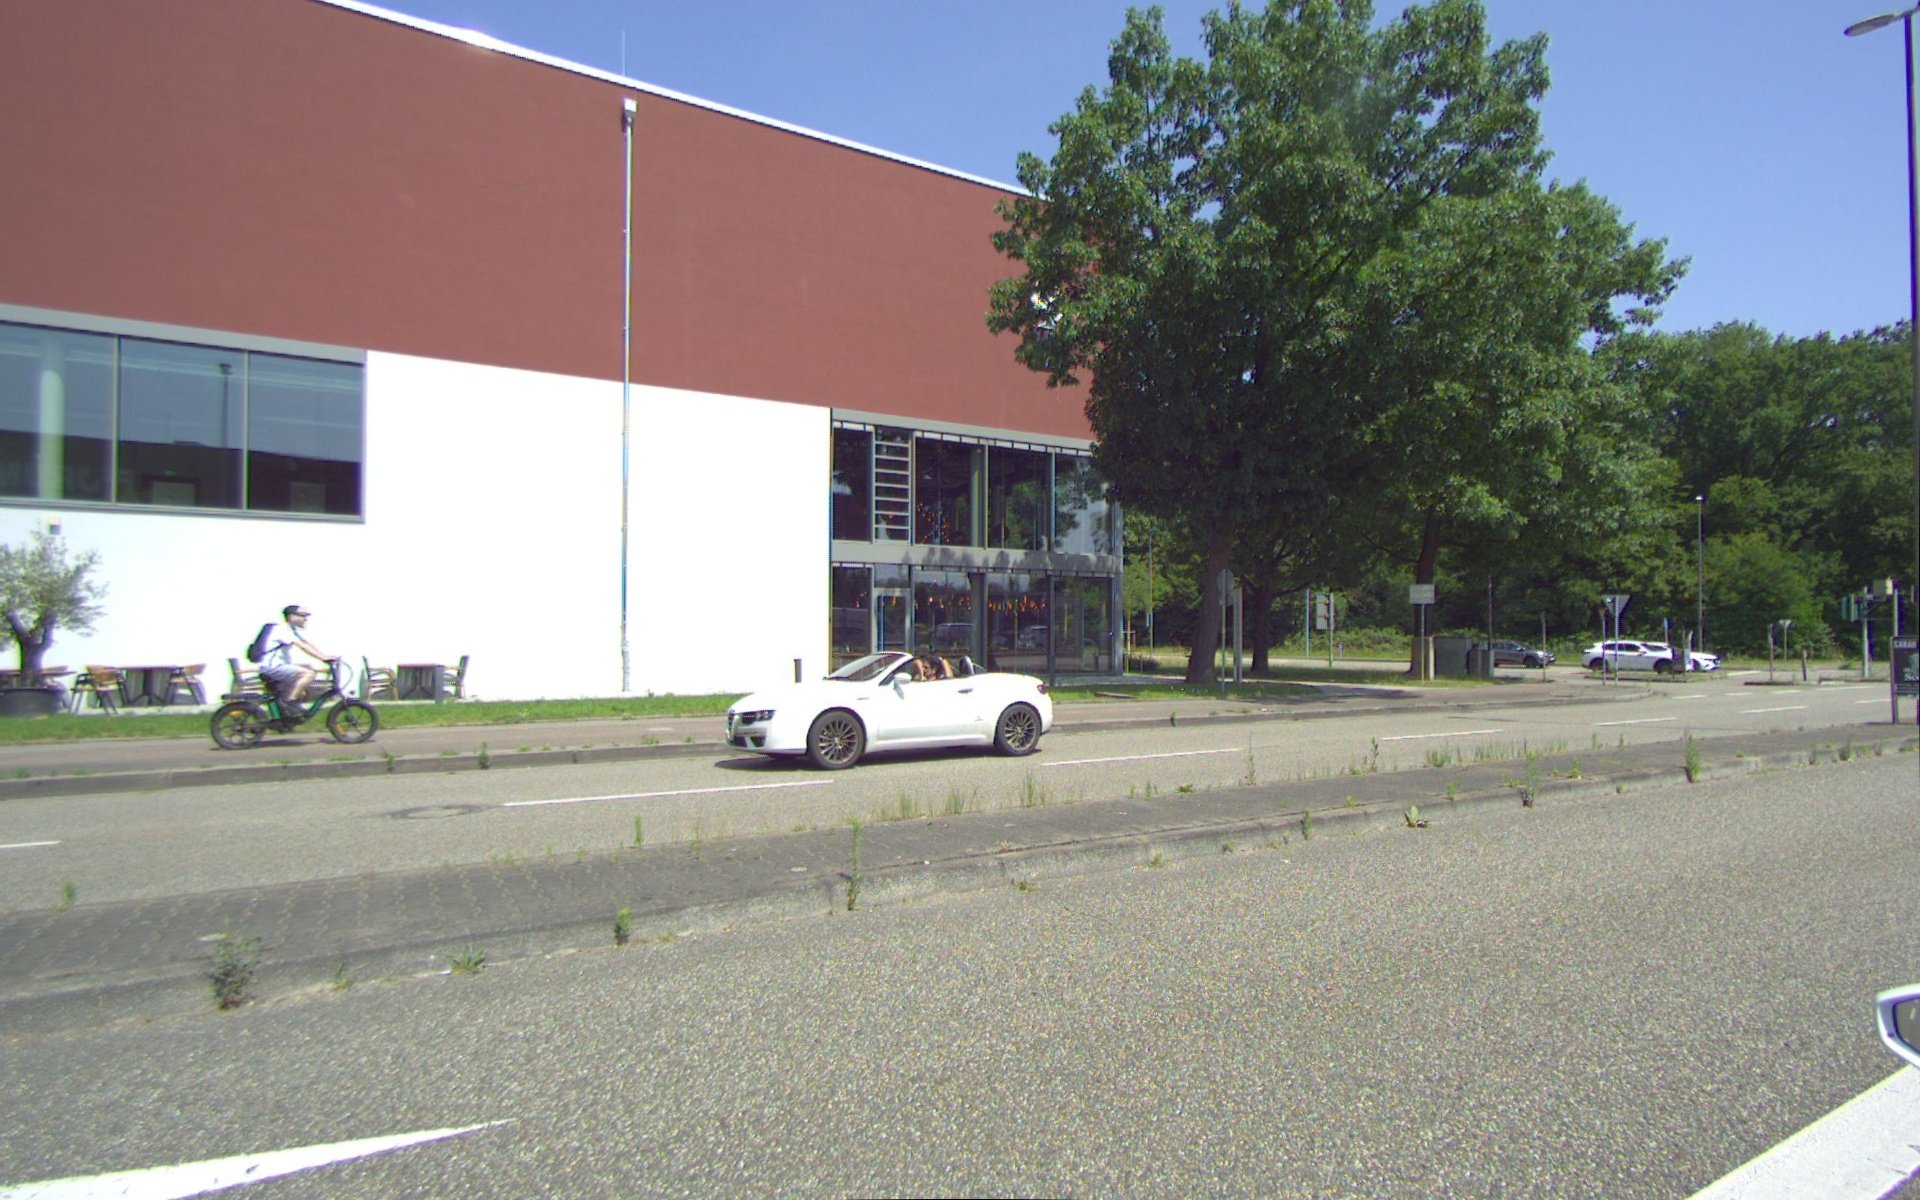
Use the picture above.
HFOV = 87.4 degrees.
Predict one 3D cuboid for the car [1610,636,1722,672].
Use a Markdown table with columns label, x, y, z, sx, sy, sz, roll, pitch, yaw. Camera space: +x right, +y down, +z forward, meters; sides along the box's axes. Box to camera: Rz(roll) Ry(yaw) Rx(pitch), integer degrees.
| label | x | y | z | sx | sy | sz | roll | pitch | yaw |
| --- | --- | --- | --- | --- | --- | --- | --- | --- | --- |
| car | 36.553 | 2.847 | 52.096 | 1.794 | 1.703 | 4.340 | 2 | -6 | -37 |

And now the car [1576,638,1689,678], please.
| label | x | y | z | sx | sy | sz | roll | pitch | yaw |
| --- | --- | --- | --- | --- | --- | --- | --- | --- | --- |
| car | 33.405 | 2.867 | 49.991 | 1.794 | 1.704 | 4.338 | 2 | 0 | -37 |

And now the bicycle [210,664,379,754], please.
| label | x | y | z | sx | sy | sz | roll | pitch | yaw |
| --- | --- | --- | --- | --- | --- | --- | --- | --- | --- |
| bicycle | -7.981 | 1.286 | 12.127 | 1.640 | 0.982 | 0.614 | 1 | -2 | -30 |

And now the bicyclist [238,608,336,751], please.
| label | x | y | z | sx | sy | sz | roll | pitch | yaw |
| --- | --- | --- | --- | --- | --- | --- | --- | --- | --- |
| bicyclist | -8.067 | 0.930 | 12.083 | 0.913 | 1.652 | 0.605 | 1 | -2 | -30 |

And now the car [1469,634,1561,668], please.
| label | x | y | z | sx | sy | sz | roll | pitch | yaw |
| --- | --- | --- | --- | --- | --- | --- | --- | --- | --- |
| car | 32.188 | 2.940 | 58.338 | 1.796 | 1.704 | 4.332 | 2 | 0 | -41 |

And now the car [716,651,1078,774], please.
| label | x | y | z | sx | sy | sz | roll | pitch | yaw |
| --- | --- | --- | --- | --- | --- | --- | --- | --- | --- |
| car | -0.729 | 1.309 | 12.602 | 4.252 | 1.279 | 1.710 | 1 | -4 | -31 |
